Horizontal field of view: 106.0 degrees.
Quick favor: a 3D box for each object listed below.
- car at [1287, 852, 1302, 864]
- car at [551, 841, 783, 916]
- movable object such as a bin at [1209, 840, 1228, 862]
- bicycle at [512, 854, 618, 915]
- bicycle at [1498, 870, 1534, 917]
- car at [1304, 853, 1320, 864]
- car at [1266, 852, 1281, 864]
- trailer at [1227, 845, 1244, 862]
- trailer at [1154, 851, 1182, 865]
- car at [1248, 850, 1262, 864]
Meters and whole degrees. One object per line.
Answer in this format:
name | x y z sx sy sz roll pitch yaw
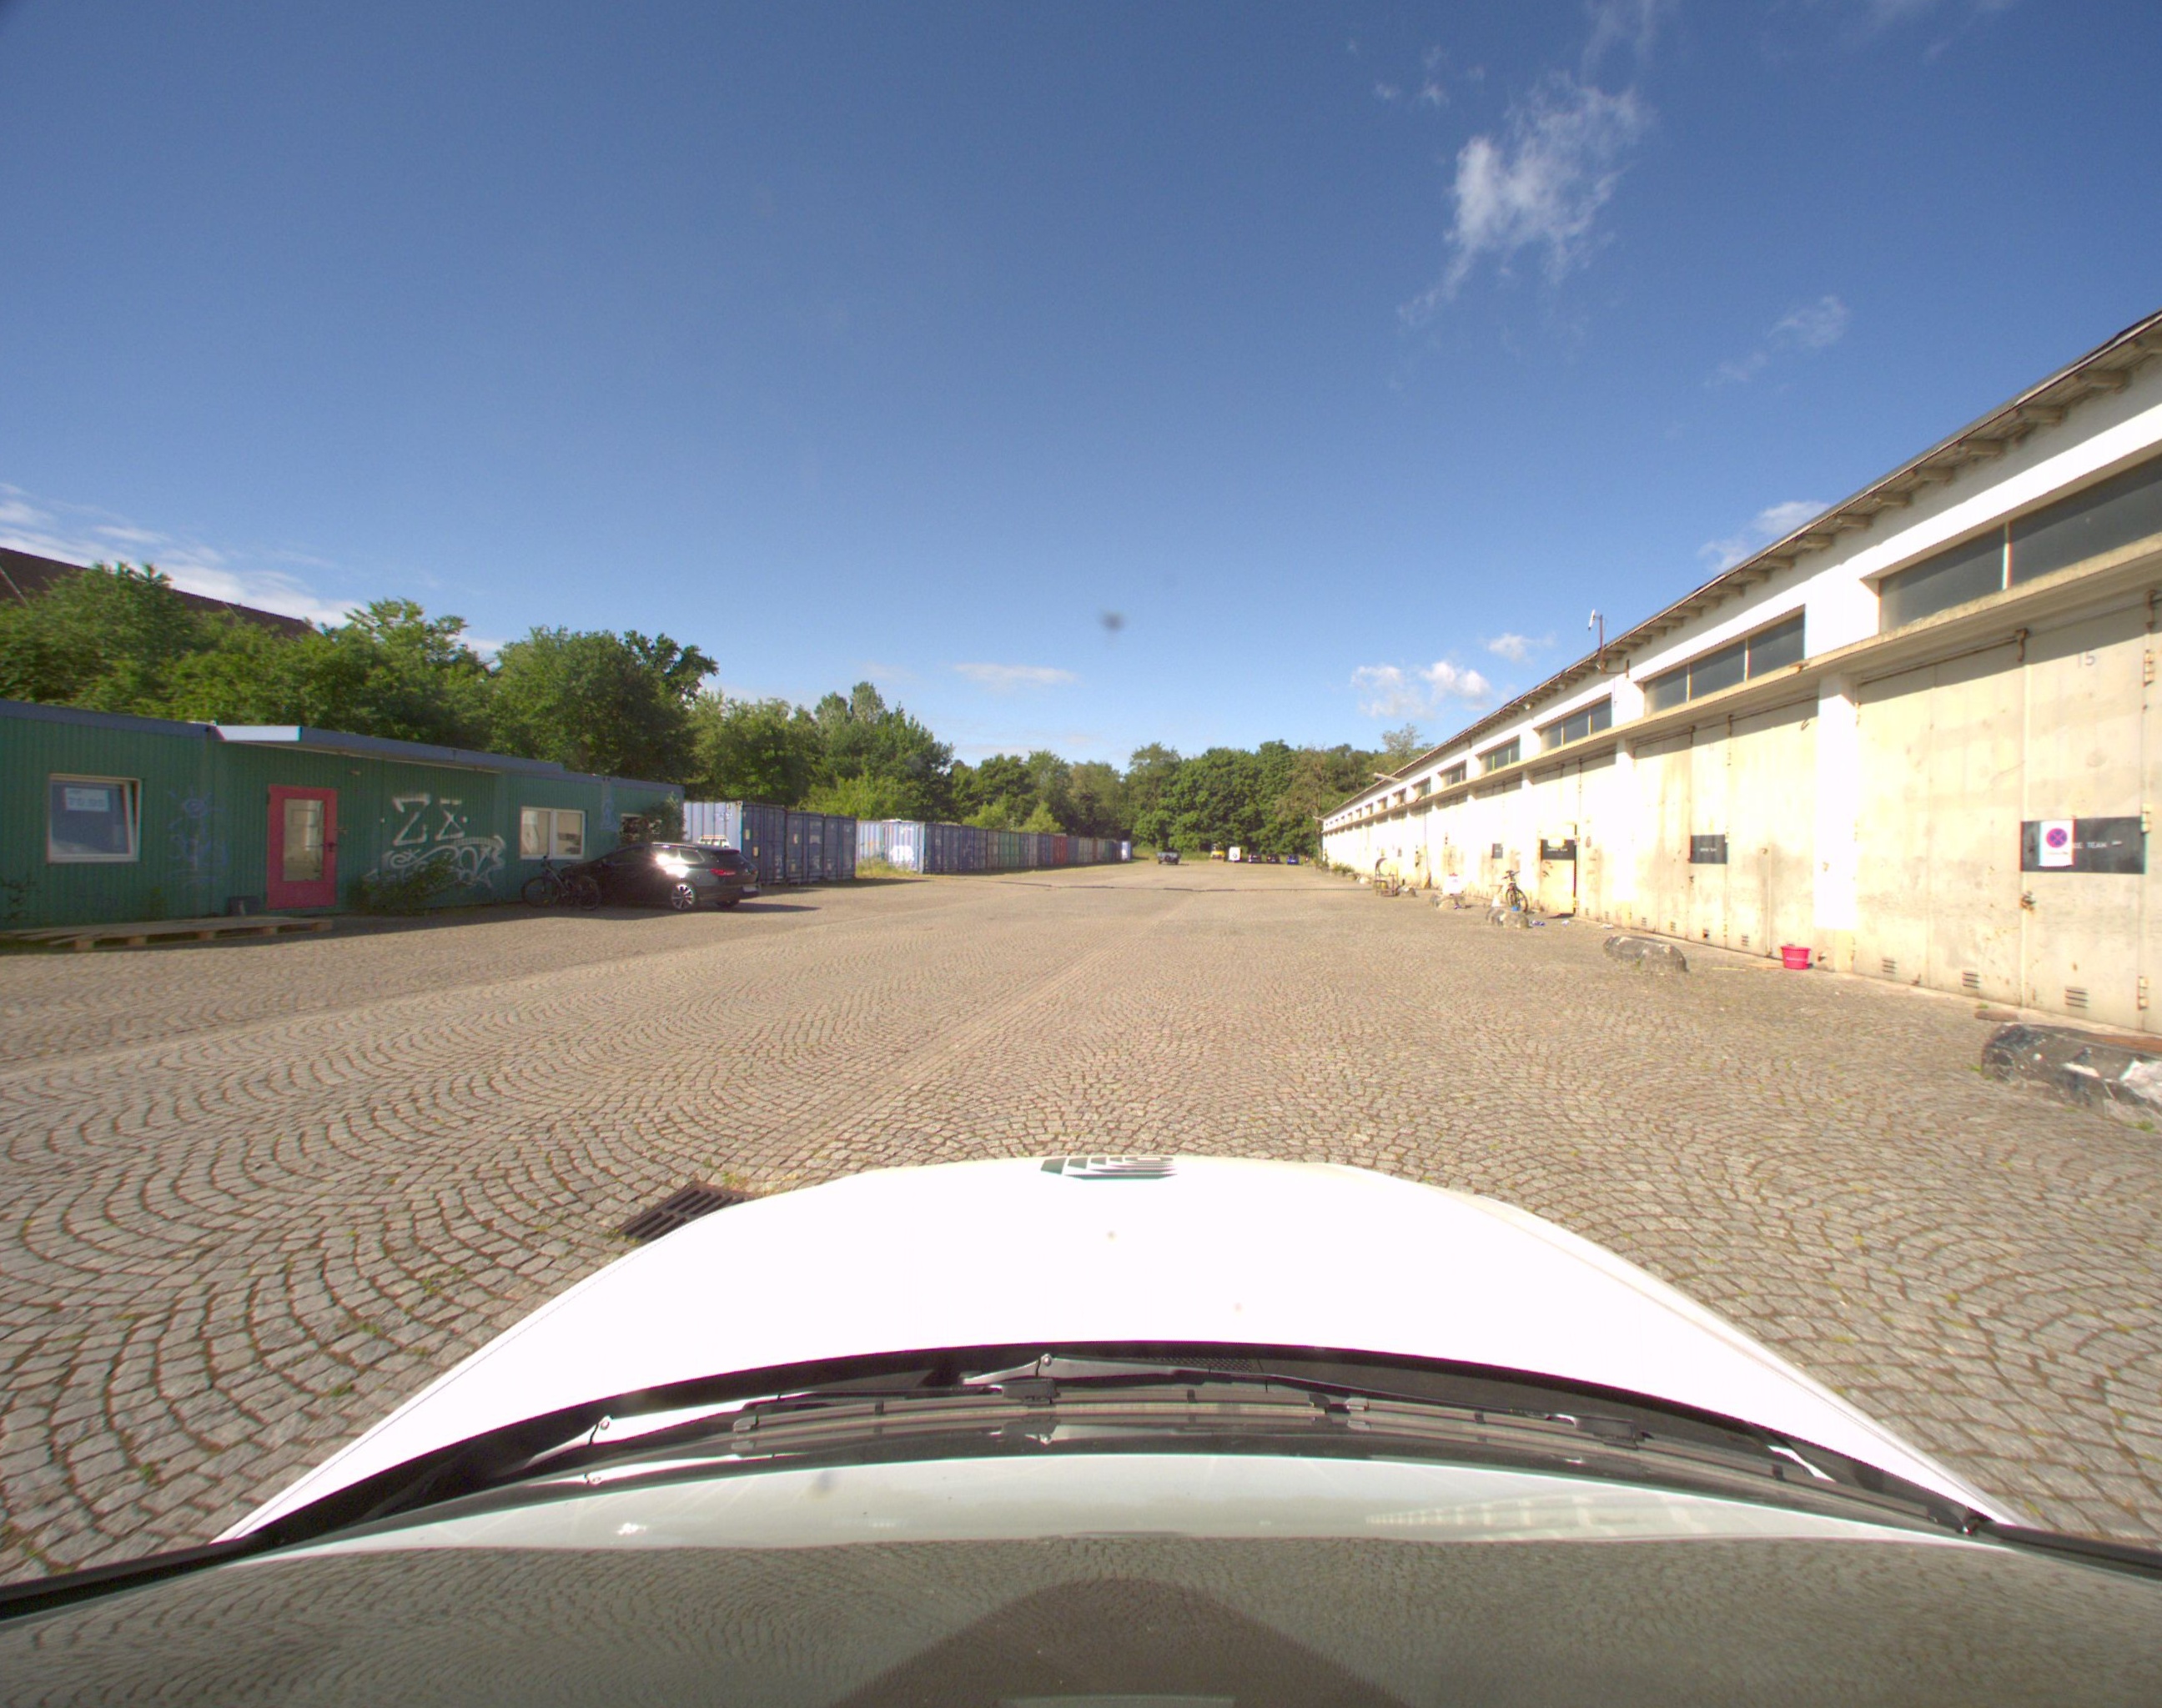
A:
car | 28.959 0.588 110.550 1.730 1.436 4.202 2 2 17
car | -9.139 0.507 18.135 4.225 1.449 1.937 2 0 10
movable object such as a bin | 19.500 -0.491 115.292 2.290 2.896 5.772 2 2 13
bicycle | -10.466 0.602 16.541 1.793 1.170 0.670 2 0 9
bicycle | 10.772 0.954 20.202 0.658 1.068 1.834 1 0 24
car | 31.649 0.595 111.423 1.730 1.436 4.204 2 2 19
car | 26.285 0.482 111.181 1.851 1.470 4.311 2 2 12
trailer | 21.679 -0.059 114.221 2.178 2.094 5.771 2 2 12
trailer | 10.307 0.446 96.026 2.688 1.465 6.267 2 2 11
car | 23.786 0.386 111.335 1.851 1.589 4.311 2 2 12
